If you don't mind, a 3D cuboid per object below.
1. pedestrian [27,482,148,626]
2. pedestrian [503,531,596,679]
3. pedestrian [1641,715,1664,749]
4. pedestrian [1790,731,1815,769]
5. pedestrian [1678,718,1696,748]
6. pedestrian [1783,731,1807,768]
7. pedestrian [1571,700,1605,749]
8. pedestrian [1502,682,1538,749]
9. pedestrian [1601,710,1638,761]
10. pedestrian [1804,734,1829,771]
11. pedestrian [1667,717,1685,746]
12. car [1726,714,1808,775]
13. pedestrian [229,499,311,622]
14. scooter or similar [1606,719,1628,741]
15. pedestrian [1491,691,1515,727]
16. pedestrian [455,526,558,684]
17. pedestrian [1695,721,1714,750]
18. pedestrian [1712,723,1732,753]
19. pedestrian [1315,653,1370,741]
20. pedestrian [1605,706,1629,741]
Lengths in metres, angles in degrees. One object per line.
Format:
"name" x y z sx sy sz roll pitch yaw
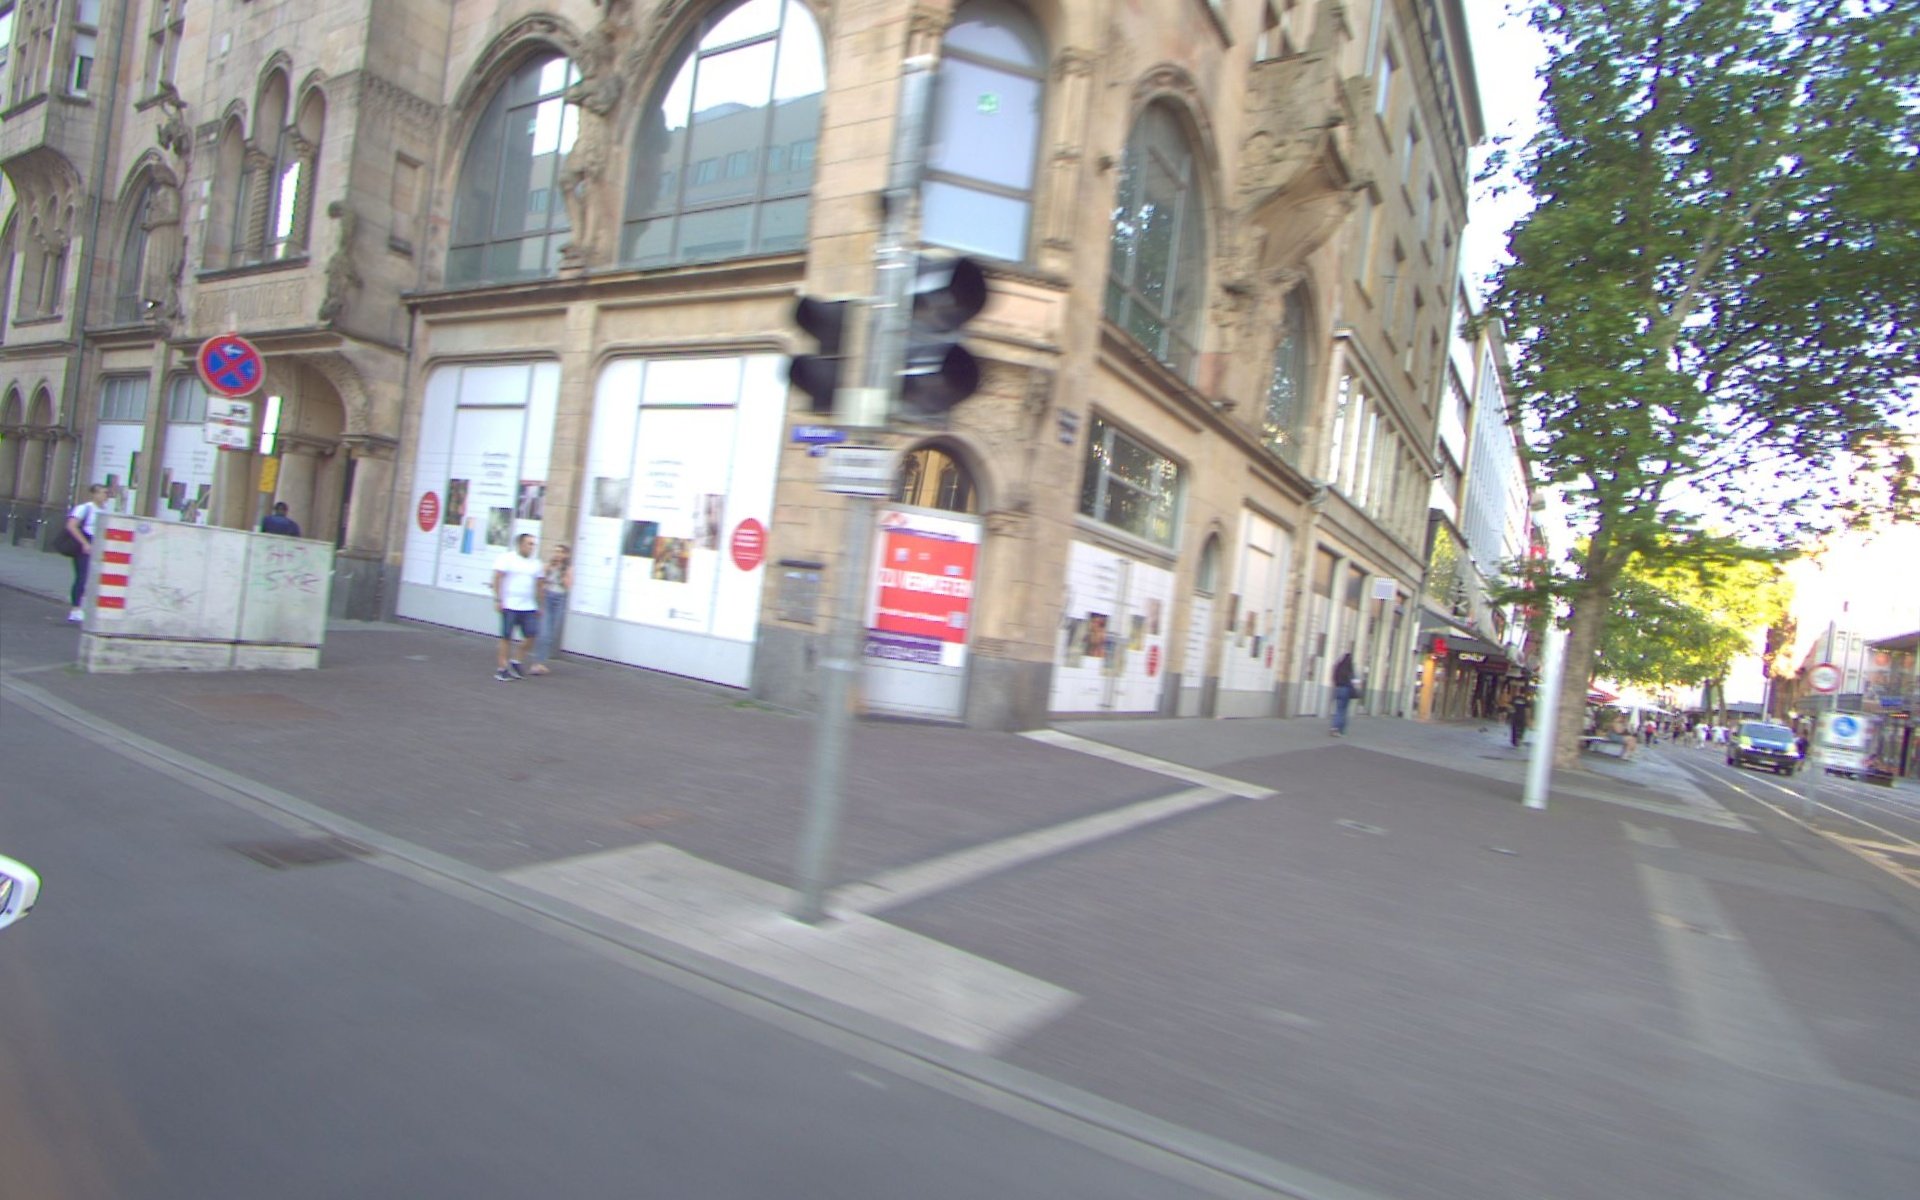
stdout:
"pedestrian" -11.383 -0.583 13.141 0.669 1.741 0.837 7 0 25
"pedestrian" -5.041 0.068 12.361 0.615 1.710 0.626 7 0 31
"pedestrian" 36.180 6.906 52.568 0.819 1.629 0.663 7 -2 32
"pedestrian" 39.230 6.989 46.860 0.651 1.629 0.663 7 -2 32
"pedestrian" 46.636 8.532 64.534 0.747 1.747 0.663 7 -2 32
"pedestrian" 39.746 7.116 47.889 0.651 1.629 0.663 7 -2 32
"pedestrian" 20.103 3.988 32.205 0.770 1.431 0.778 7 -2 32
"pedestrian" 16.480 3.406 29.613 0.701 1.843 0.778 7 -2 32
"pedestrian" 20.177 4.139 30.776 0.766 1.431 0.782 7 -2 32
"pedestrian" 40.487 7.213 47.578 0.651 1.629 0.663 7 -2 32
"pedestrian" 45.719 8.379 64.232 0.747 1.747 0.663 7 -2 32
"car" 33.162 5.937 41.445 1.967 2.036 4.290 7 -3 33
"pedestrian" -10.219 -0.577 14.909 0.660 1.710 0.626 7 0 31
"scooter or similar" 32.519 6.452 49.822 0.772 0.979 0.663 7 -2 32
"pedestrian" 26.443 5.303 48.950 0.819 1.629 0.663 7 -2 32
"pedestrian" -5.220 0.070 11.591 0.660 1.710 0.626 7 0 31
"pedestrian" 47.355 8.616 64.018 0.747 1.747 0.663 7 -2 32
"pedestrian" 48.122 8.707 63.524 0.747 1.747 0.663 7 -2 32
"pedestrian" 7.612 1.937 20.001 0.701 1.629 0.821 7 -2 32
"pedestrian" 32.885 6.205 50.386 0.819 1.629 0.663 7 -2 32
